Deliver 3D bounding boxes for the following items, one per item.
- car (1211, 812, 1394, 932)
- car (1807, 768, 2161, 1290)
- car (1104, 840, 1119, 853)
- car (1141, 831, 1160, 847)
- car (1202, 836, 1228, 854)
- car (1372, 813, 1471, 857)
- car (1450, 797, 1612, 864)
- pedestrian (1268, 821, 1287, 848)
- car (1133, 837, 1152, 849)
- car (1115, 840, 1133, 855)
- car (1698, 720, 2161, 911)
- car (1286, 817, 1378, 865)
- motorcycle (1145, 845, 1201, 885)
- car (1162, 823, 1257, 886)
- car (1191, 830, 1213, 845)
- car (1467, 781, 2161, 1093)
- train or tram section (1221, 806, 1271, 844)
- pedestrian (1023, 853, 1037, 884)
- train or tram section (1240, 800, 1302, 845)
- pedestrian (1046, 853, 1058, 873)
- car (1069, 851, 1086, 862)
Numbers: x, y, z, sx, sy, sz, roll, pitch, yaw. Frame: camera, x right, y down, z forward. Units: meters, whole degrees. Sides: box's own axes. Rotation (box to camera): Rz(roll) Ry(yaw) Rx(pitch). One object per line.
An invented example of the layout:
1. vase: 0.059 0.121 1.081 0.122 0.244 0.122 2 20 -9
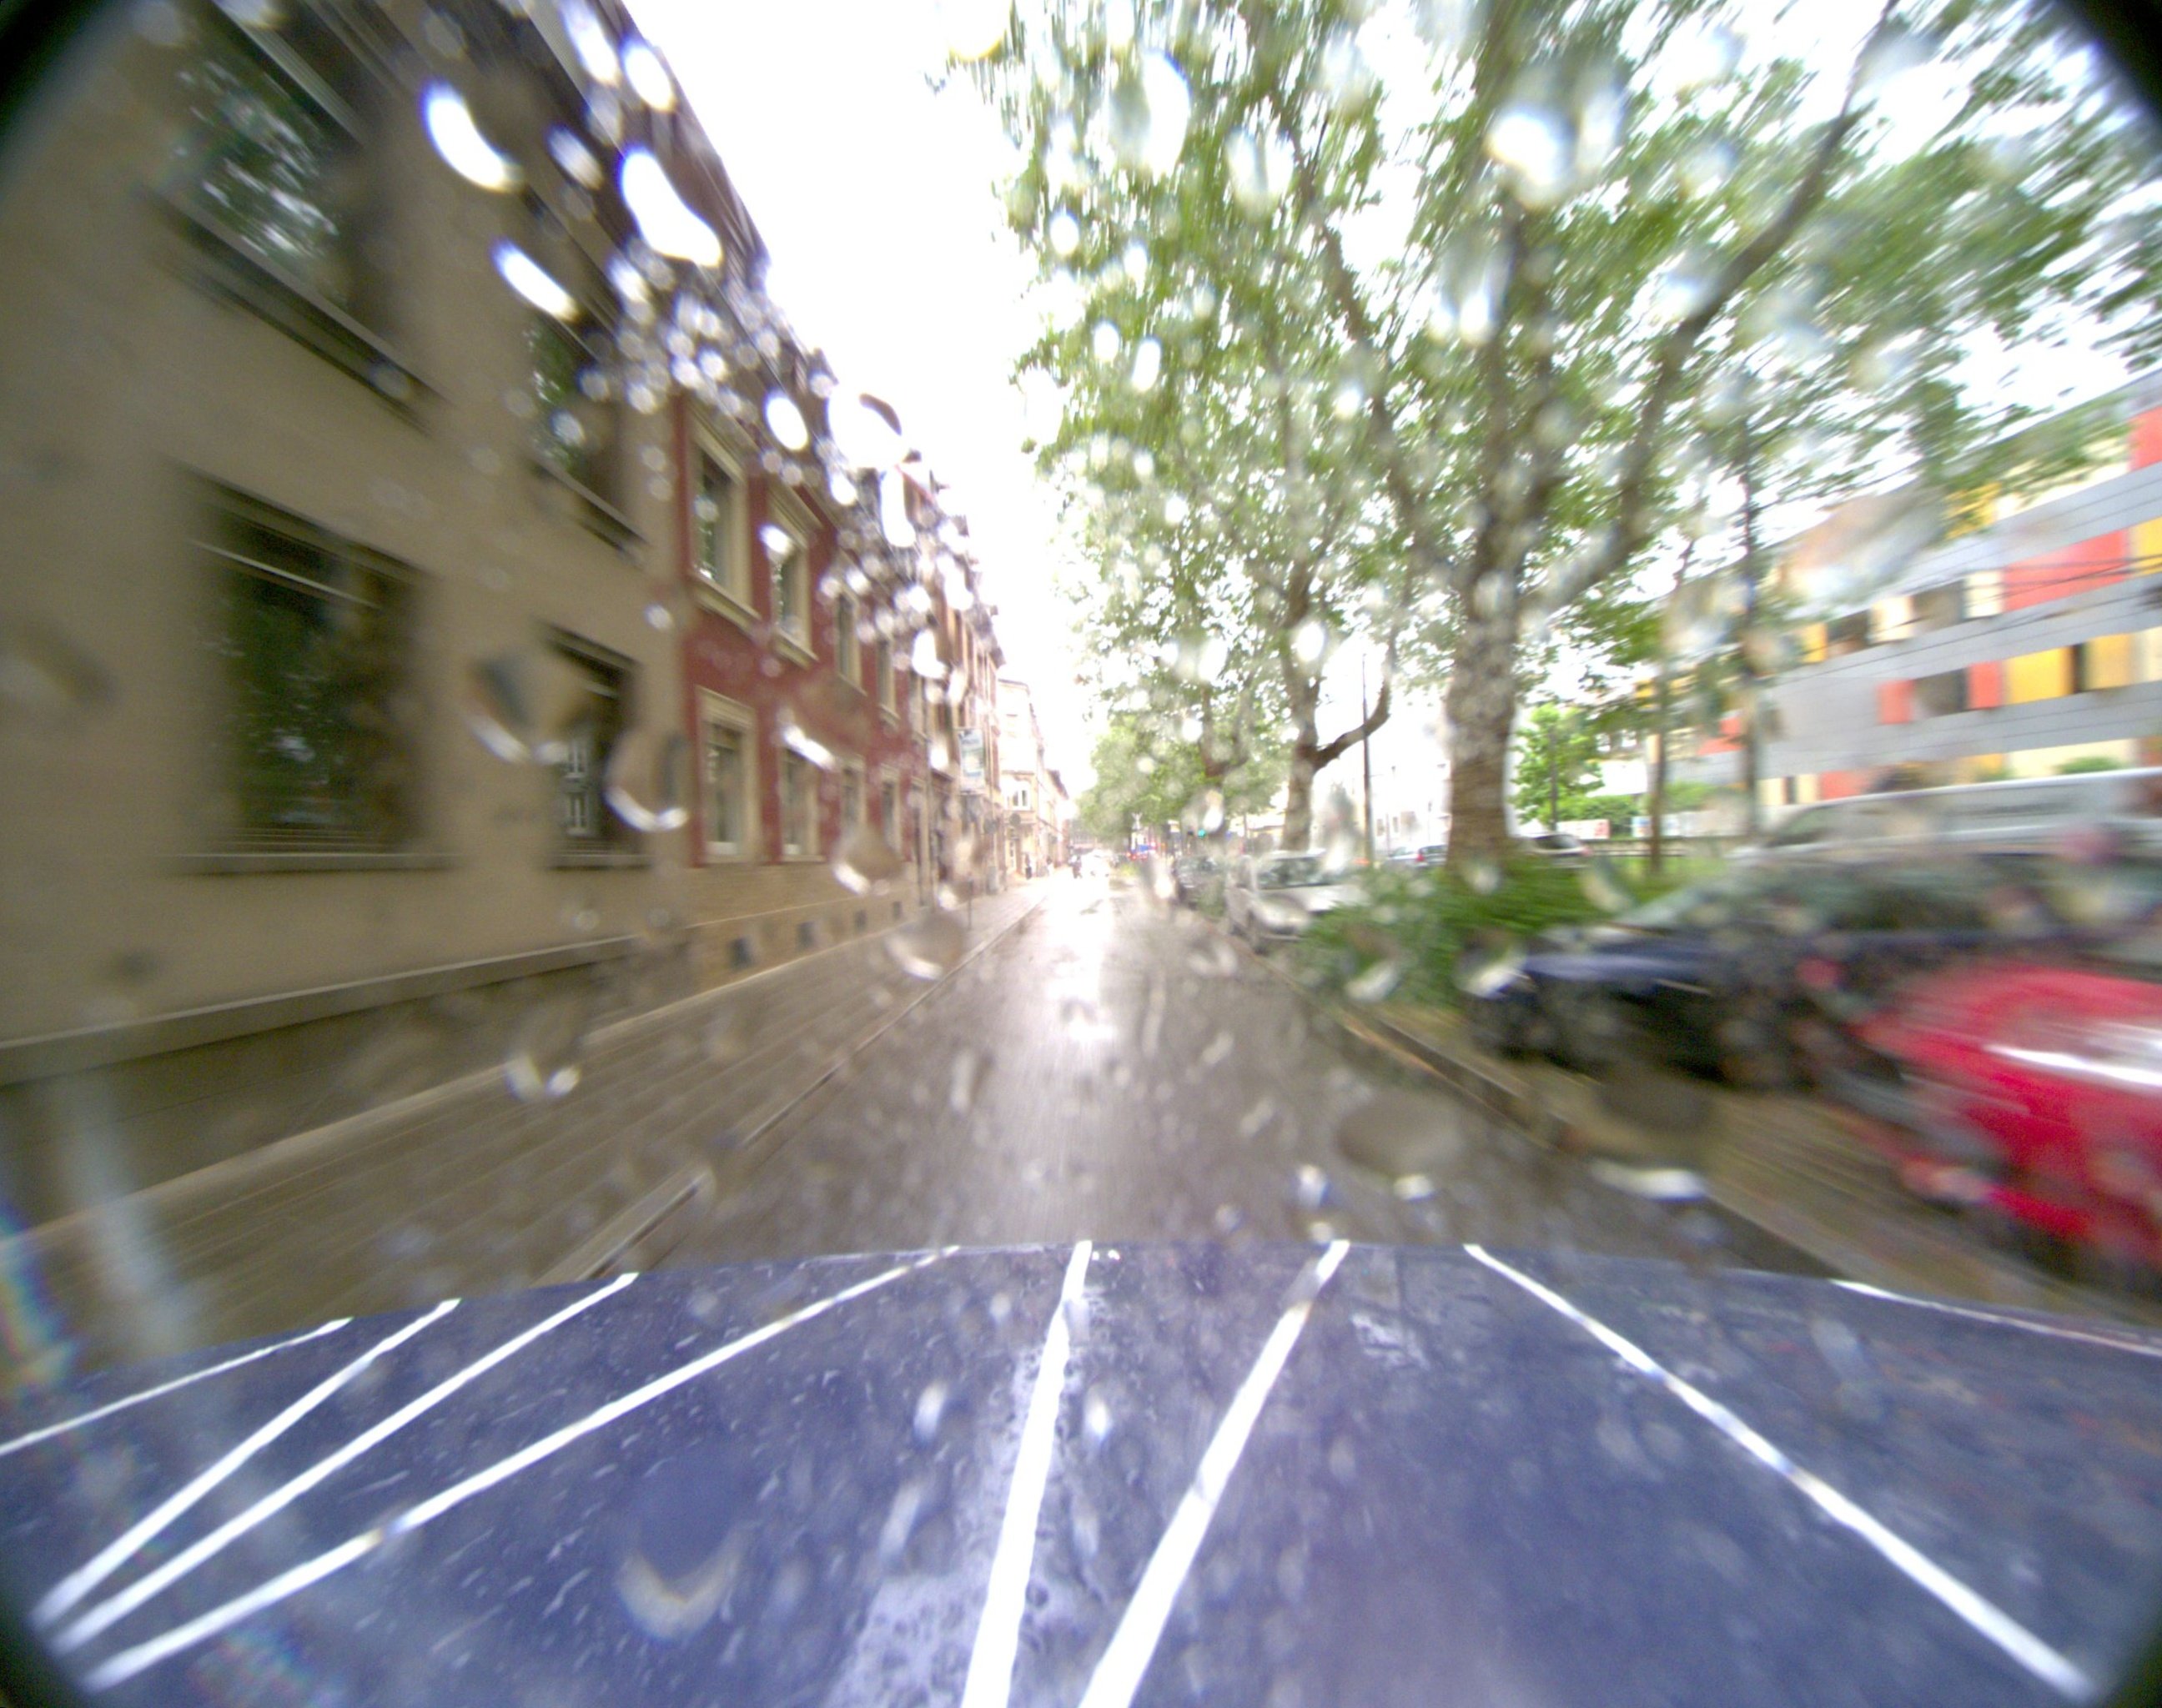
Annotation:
1. car: 3.344 0.226 12.356 1.733 1.506 4.207 -4 1 1
2. car: 4.695 0.415 2.125 3.494 1.428 1.784 -2 1 28
3. car: 4.058 -1.012 100.086 1.663 1.567 3.423 -3 1 7
4. car: 8.567 -1.844 93.529 1.937 1.839 4.066 -3 1 1
5. car: 13.078 -0.865 74.321 1.676 1.500 3.974 -6 1 1
6. car: 12.881 -0.689 29.070 1.908 1.455 4.388 -3 1 2
7. car: 12.421 -0.615 21.375 1.909 1.591 4.467 -3 1 1
8. pedestrian: 13.651 -1.332 52.759 0.938 1.790 1.206 -3 2 1
9. car: 9.010 -1.584 111.472 2.062 1.609 4.672 -3 1 -3
10. car: 4.666 -0.673 82.822 1.732 1.473 4.005 -3 1 1
11. car: 12.085 -0.493 10.735 2.059 1.986 5.432 -5 1 -2
12. car: 8.657 -0.457 26.559 1.838 1.412 3.999 -4 1 0
13. motorcycle: 3.610 0.449 29.946 2.104 1.491 0.773 -2 2 44
14. car: 3.536 -0.010 21.755 1.901 1.476 4.621 -4 1 1
15. car: 13.057 -1.741 82.162 1.676 1.377 3.705 -6 1 1
16. car: 4.629 0.378 4.589 4.036 1.426 1.784 -2 1 26
17. train or tram section: 17.575 -3.002 81.796 2.907 3.621 11.550 -4 1 1
18. pedestrian: -3.168 0.893 47.362 0.787 1.903 0.929 1 2 1
19. train or tram section: 17.299 -2.776 70.220 2.907 3.621 11.550 -4 1 1
20. pedestrian: -2.383 0.741 62.212 0.849 1.565 0.576 2 1 1
21. car: -0.439 0.281 103.935 1.976 1.359 4.161 2 1 3
